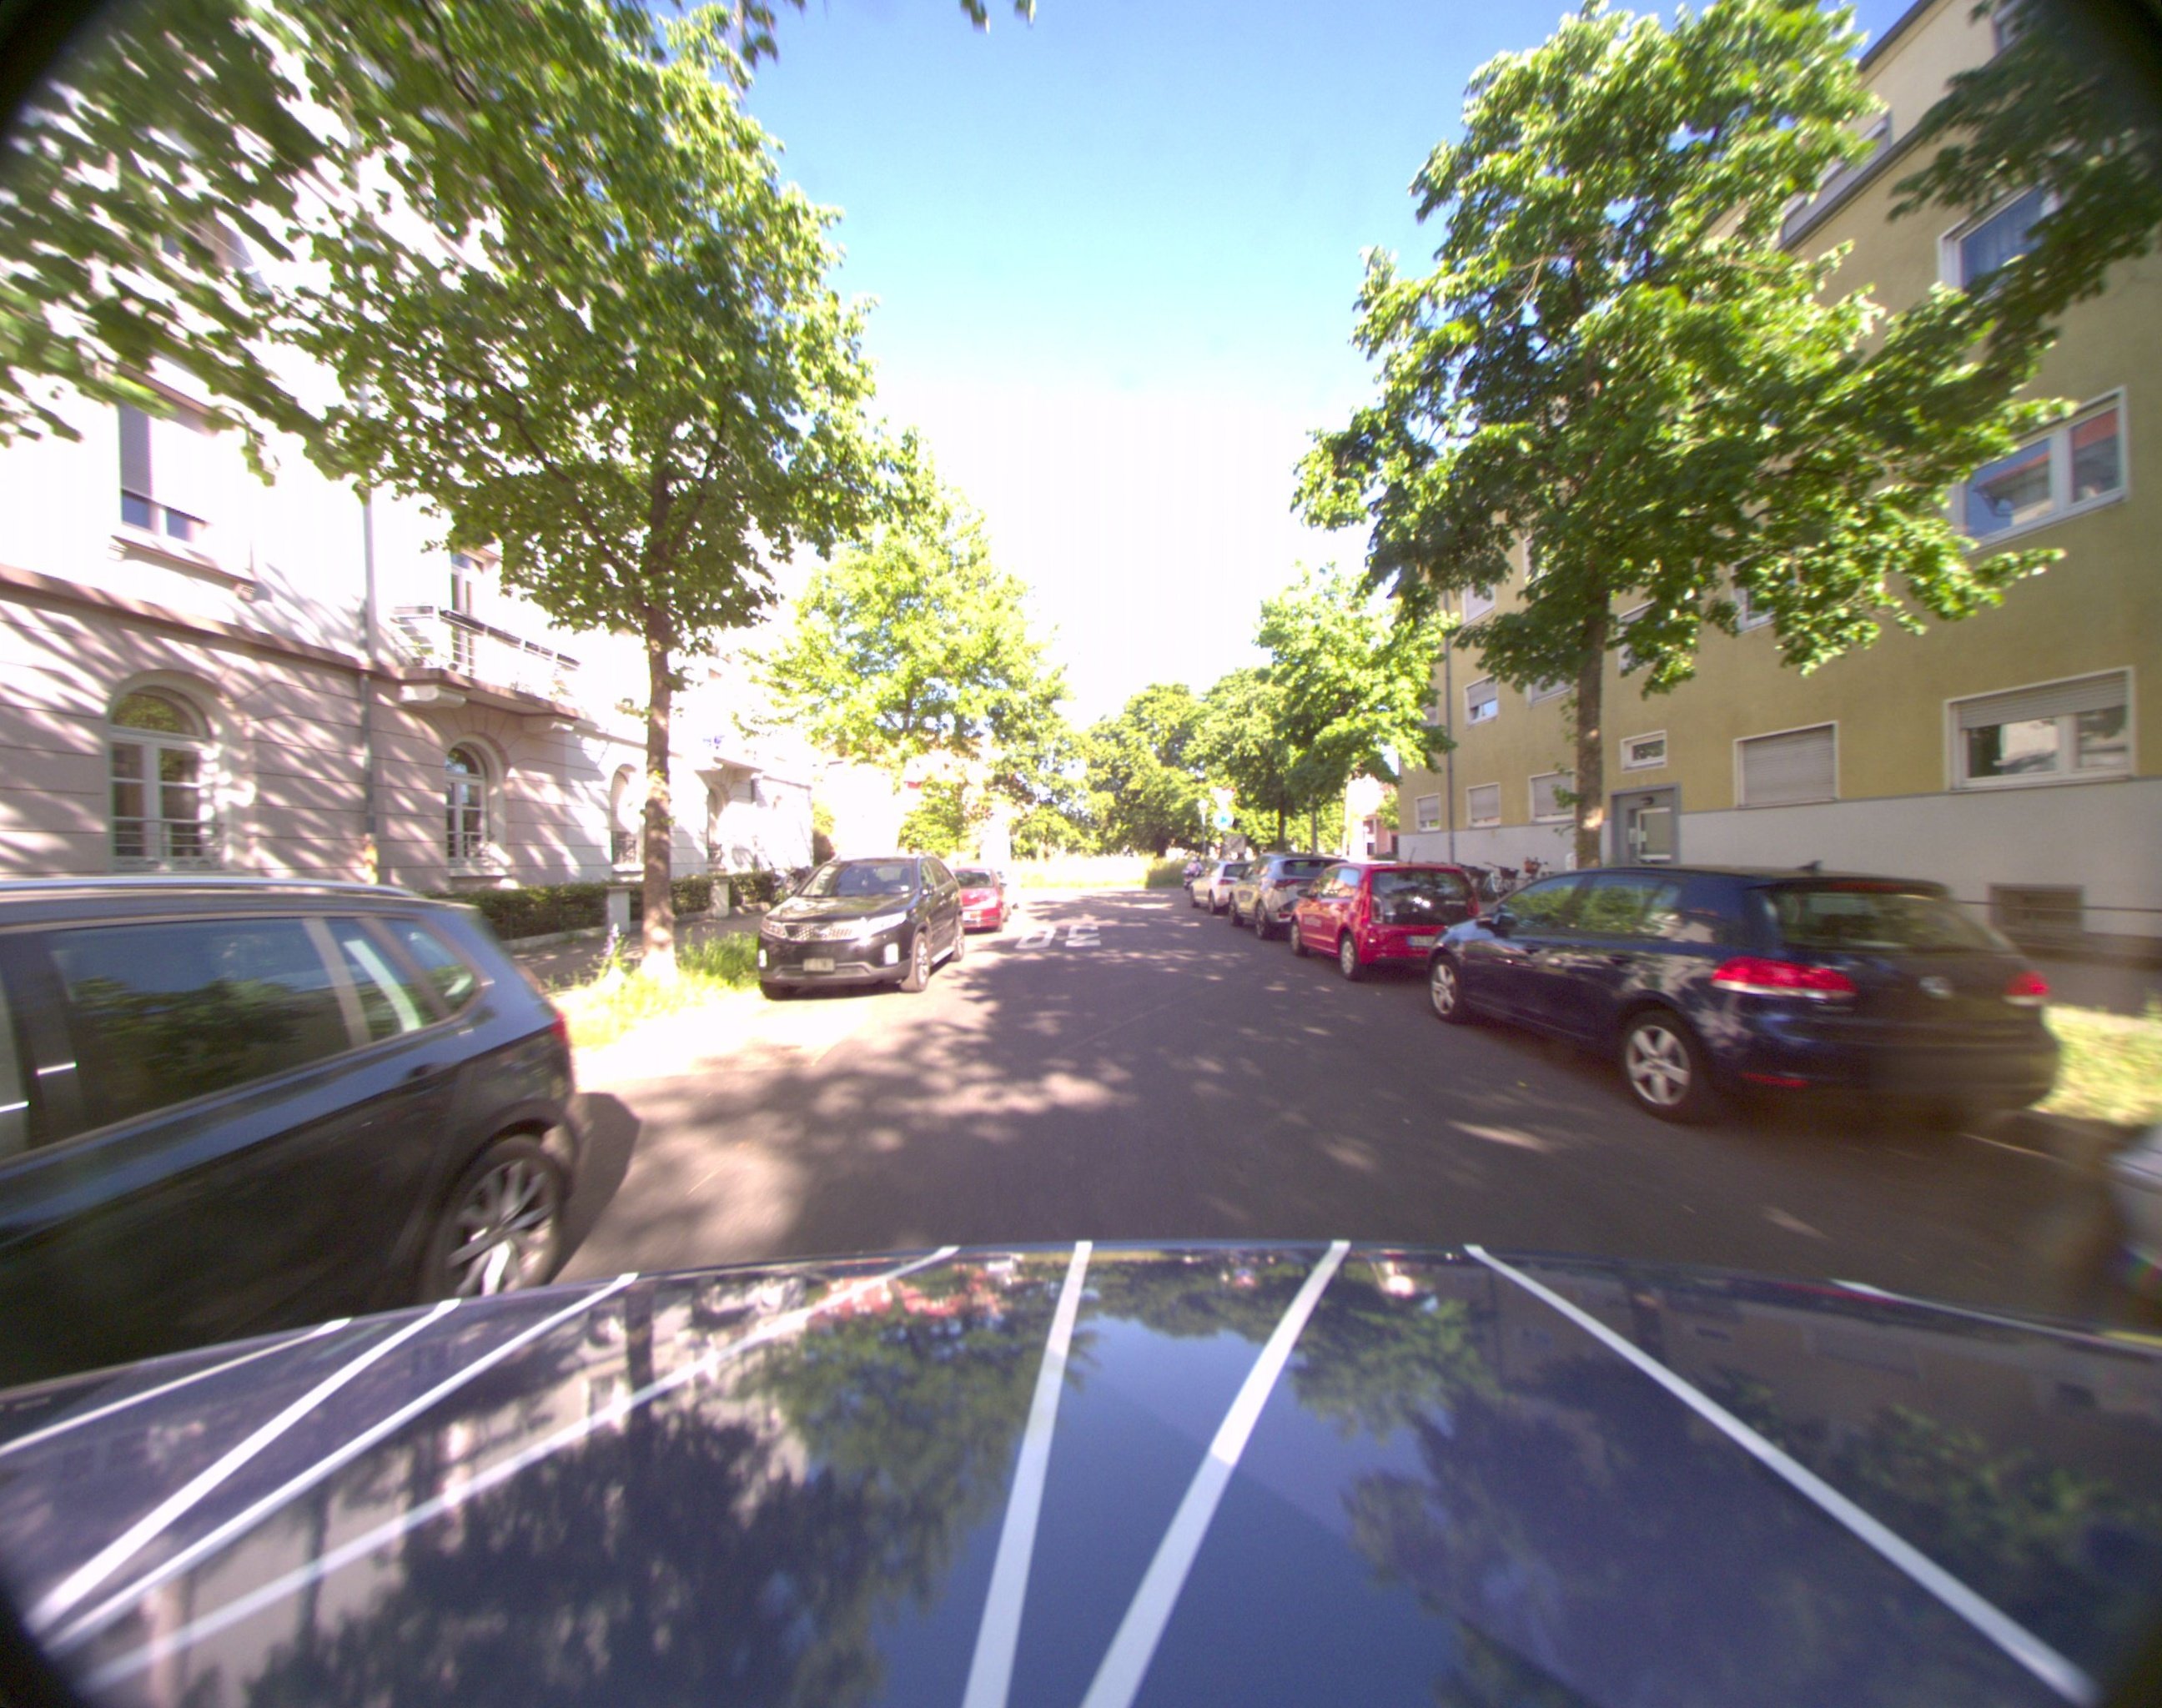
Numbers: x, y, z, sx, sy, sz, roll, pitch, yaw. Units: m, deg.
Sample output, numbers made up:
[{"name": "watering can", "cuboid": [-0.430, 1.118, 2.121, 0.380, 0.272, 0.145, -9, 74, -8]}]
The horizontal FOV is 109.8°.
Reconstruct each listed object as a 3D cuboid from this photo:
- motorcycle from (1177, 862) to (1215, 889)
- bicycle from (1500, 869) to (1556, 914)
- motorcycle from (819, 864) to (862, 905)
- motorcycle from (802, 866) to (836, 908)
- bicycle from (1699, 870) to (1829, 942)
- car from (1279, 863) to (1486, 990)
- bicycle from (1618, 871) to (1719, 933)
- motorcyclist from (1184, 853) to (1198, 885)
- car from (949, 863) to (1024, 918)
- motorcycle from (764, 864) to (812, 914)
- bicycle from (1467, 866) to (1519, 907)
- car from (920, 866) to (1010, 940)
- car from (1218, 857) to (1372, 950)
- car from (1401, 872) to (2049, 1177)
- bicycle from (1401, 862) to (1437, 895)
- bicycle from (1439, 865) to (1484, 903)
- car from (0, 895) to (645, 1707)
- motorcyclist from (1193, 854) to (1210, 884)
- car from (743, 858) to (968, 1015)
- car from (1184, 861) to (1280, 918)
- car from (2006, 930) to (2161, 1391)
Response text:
[{"name": "motorcycle", "cuboid": [5.255, 0.984, 34.706, 1.634, 1.168, 0.553, -1, 0, -21]}, {"name": "bicycle", "cuboid": [10.524, 0.869, 17.939, 0.516, 0.995, 1.545, -1, 0, 4]}, {"name": "motorcycle", "cuboid": [-8.314, 1.018, 26.351, 0.973, 1.321, 1.852, -1, 0, -5]}, {"name": "motorcycle", "cuboid": [-8.421, 1.034, 24.482, 0.658, 1.272, 1.799, 1, 0, -6]}, {"name": "bicycle", "cuboid": [10.693, 0.780, 11.982, 0.537, 1.021, 1.748, 0, 0, 2]}, {"name": "car", "cuboid": [4.032, 0.889, 10.727, 1.669, 1.477, 3.256, -1, 0, 1]}, {"name": "bicycle", "cuboid": [10.712, 0.836, 13.924, 0.541, 1.021, 1.748, -1, 0, 2]}, {"name": "motorcyclist", "cuboid": [5.027, 0.685, 34.677, 0.404, 1.418, 0.544, -1, 1, -20]}, {"name": "car", "cuboid": [-2.687, 1.004, 22.406, 1.657, 1.394, 4.135, -1, 0, 0]}, {"name": "motorcycle", "cuboid": [-8.488, 0.988, 22.121, 0.540, 1.353, 2.089, -1, 0, 1]}, {"name": "bicycle", "cuboid": [10.607, 0.817, 19.605, 0.513, 0.995, 1.545, -1, 0, 1]}, {"name": "car", "cuboid": [-2.547, 1.021, 17.566, 1.616, 1.401, 4.350, -1, 0, -3]}, {"name": "car", "cuboid": [4.073, 0.850, 15.310, 1.696, 1.555, 4.735, -1, 0, -1]}, {"name": "car", "cuboid": [4.099, 0.914, 5.826, 1.669, 1.450, 3.933, -1, 0, 1]}, {"name": "bicycle", "cuboid": [10.613, 0.744, 23.903, 0.454, 0.995, 1.545, -1, 0, 1]}, {"name": "bicycle", "cuboid": [10.737, 0.831, 21.487, 0.435, 0.995, 1.681, -1, 0, 1]}, {"name": "car", "cuboid": [-2.866, 1.020, 1.207, 1.688, 1.578, 4.535, -3, 0, -1]}, {"name": "motorcyclist", "cuboid": [5.512, 0.683, 34.788, 0.520, 1.394, 0.553, -1, 1, -21]}, {"name": "car", "cuboid": [-2.782, 0.912, 10.467, 1.785, 1.688, 4.297, -1, 0, 0]}, {"name": "car", "cuboid": [4.193, 0.934, 21.730, 1.765, 1.433, 3.993, -1, 0, -3]}, {"name": "car", "cuboid": [4.124, 0.949, 0.348, 1.750, 1.360, 4.674, 0, 0, 1]}]
